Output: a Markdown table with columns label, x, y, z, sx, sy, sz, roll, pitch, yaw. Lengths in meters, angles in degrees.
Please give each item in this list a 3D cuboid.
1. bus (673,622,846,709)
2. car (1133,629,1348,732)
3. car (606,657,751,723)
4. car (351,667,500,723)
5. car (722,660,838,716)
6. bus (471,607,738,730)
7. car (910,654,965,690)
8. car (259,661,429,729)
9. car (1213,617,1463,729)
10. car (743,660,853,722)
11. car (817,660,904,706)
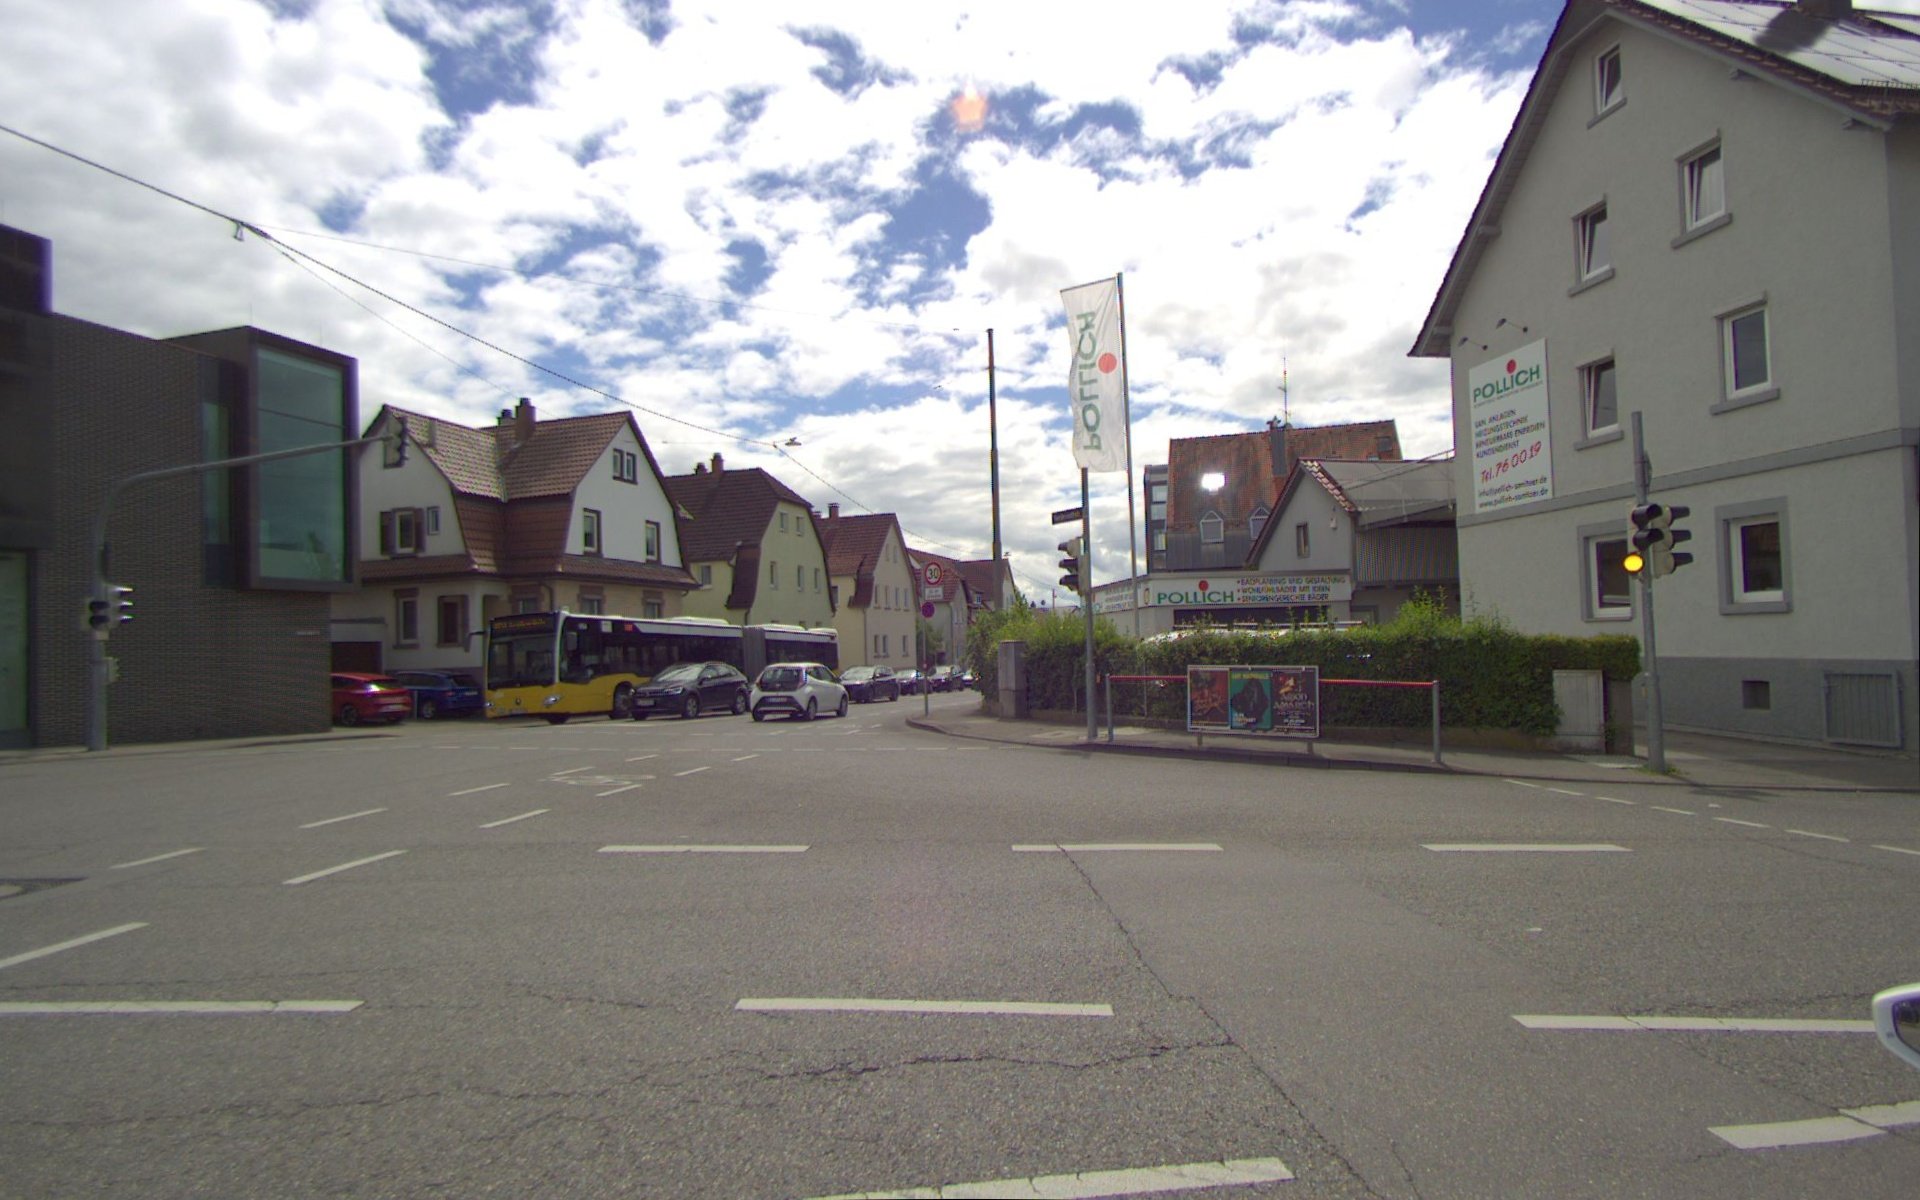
| label | x | y | z | sx | sy | sz | roll | pitch | yaw |
| --- | --- | --- | --- | --- | --- | --- | --- | --- | --- |
| bus | -7.474 | 2.507 | 39.211 | 2.731 | 2.952 | 9.197 | -1 | -3 | 16 |
| car | 5.880 | 1.672 | 21.368 | 3.926 | 2.040 | 1.998 | 0 | -3 | -8 |
| car | -7.619 | 2.407 | 27.640 | 1.960 | 1.661 | 4.002 | -1 | -3 | 18 |
| car | -17.287 | 3.035 | 32.561 | 3.919 | 1.706 | 2.002 | -1 | -3 | 14 |
| car | -5.760 | 2.803 | 32.680 | 1.960 | 1.661 | 4.185 | -1 | -3 | 18 |
| bus | -10.173 | 1.992 | 30.273 | 2.731 | 3.100 | 9.197 | -1 | -3 | 16 |
| car | -1.322 | 4.311 | 60.250 | 1.961 | 2.040 | 4.000 | -2 | -3 | 20 |
| car | -18.058 | 2.752 | 29.534 | 3.919 | 1.661 | 2.002 | 3 | -2 | 14 |
| car | 7.084 | 1.360 | 19.075 | 3.927 | 1.973 | 1.998 | 0 | -3 | -8 |
| car | -4.199 | 2.357 | 26.610 | 1.709 | 1.479 | 3.535 | -1 | -3 | 12 |
| car | -3.856 | 3.203 | 39.460 | 1.960 | 1.661 | 4.002 | -1 | -3 | 18 |
